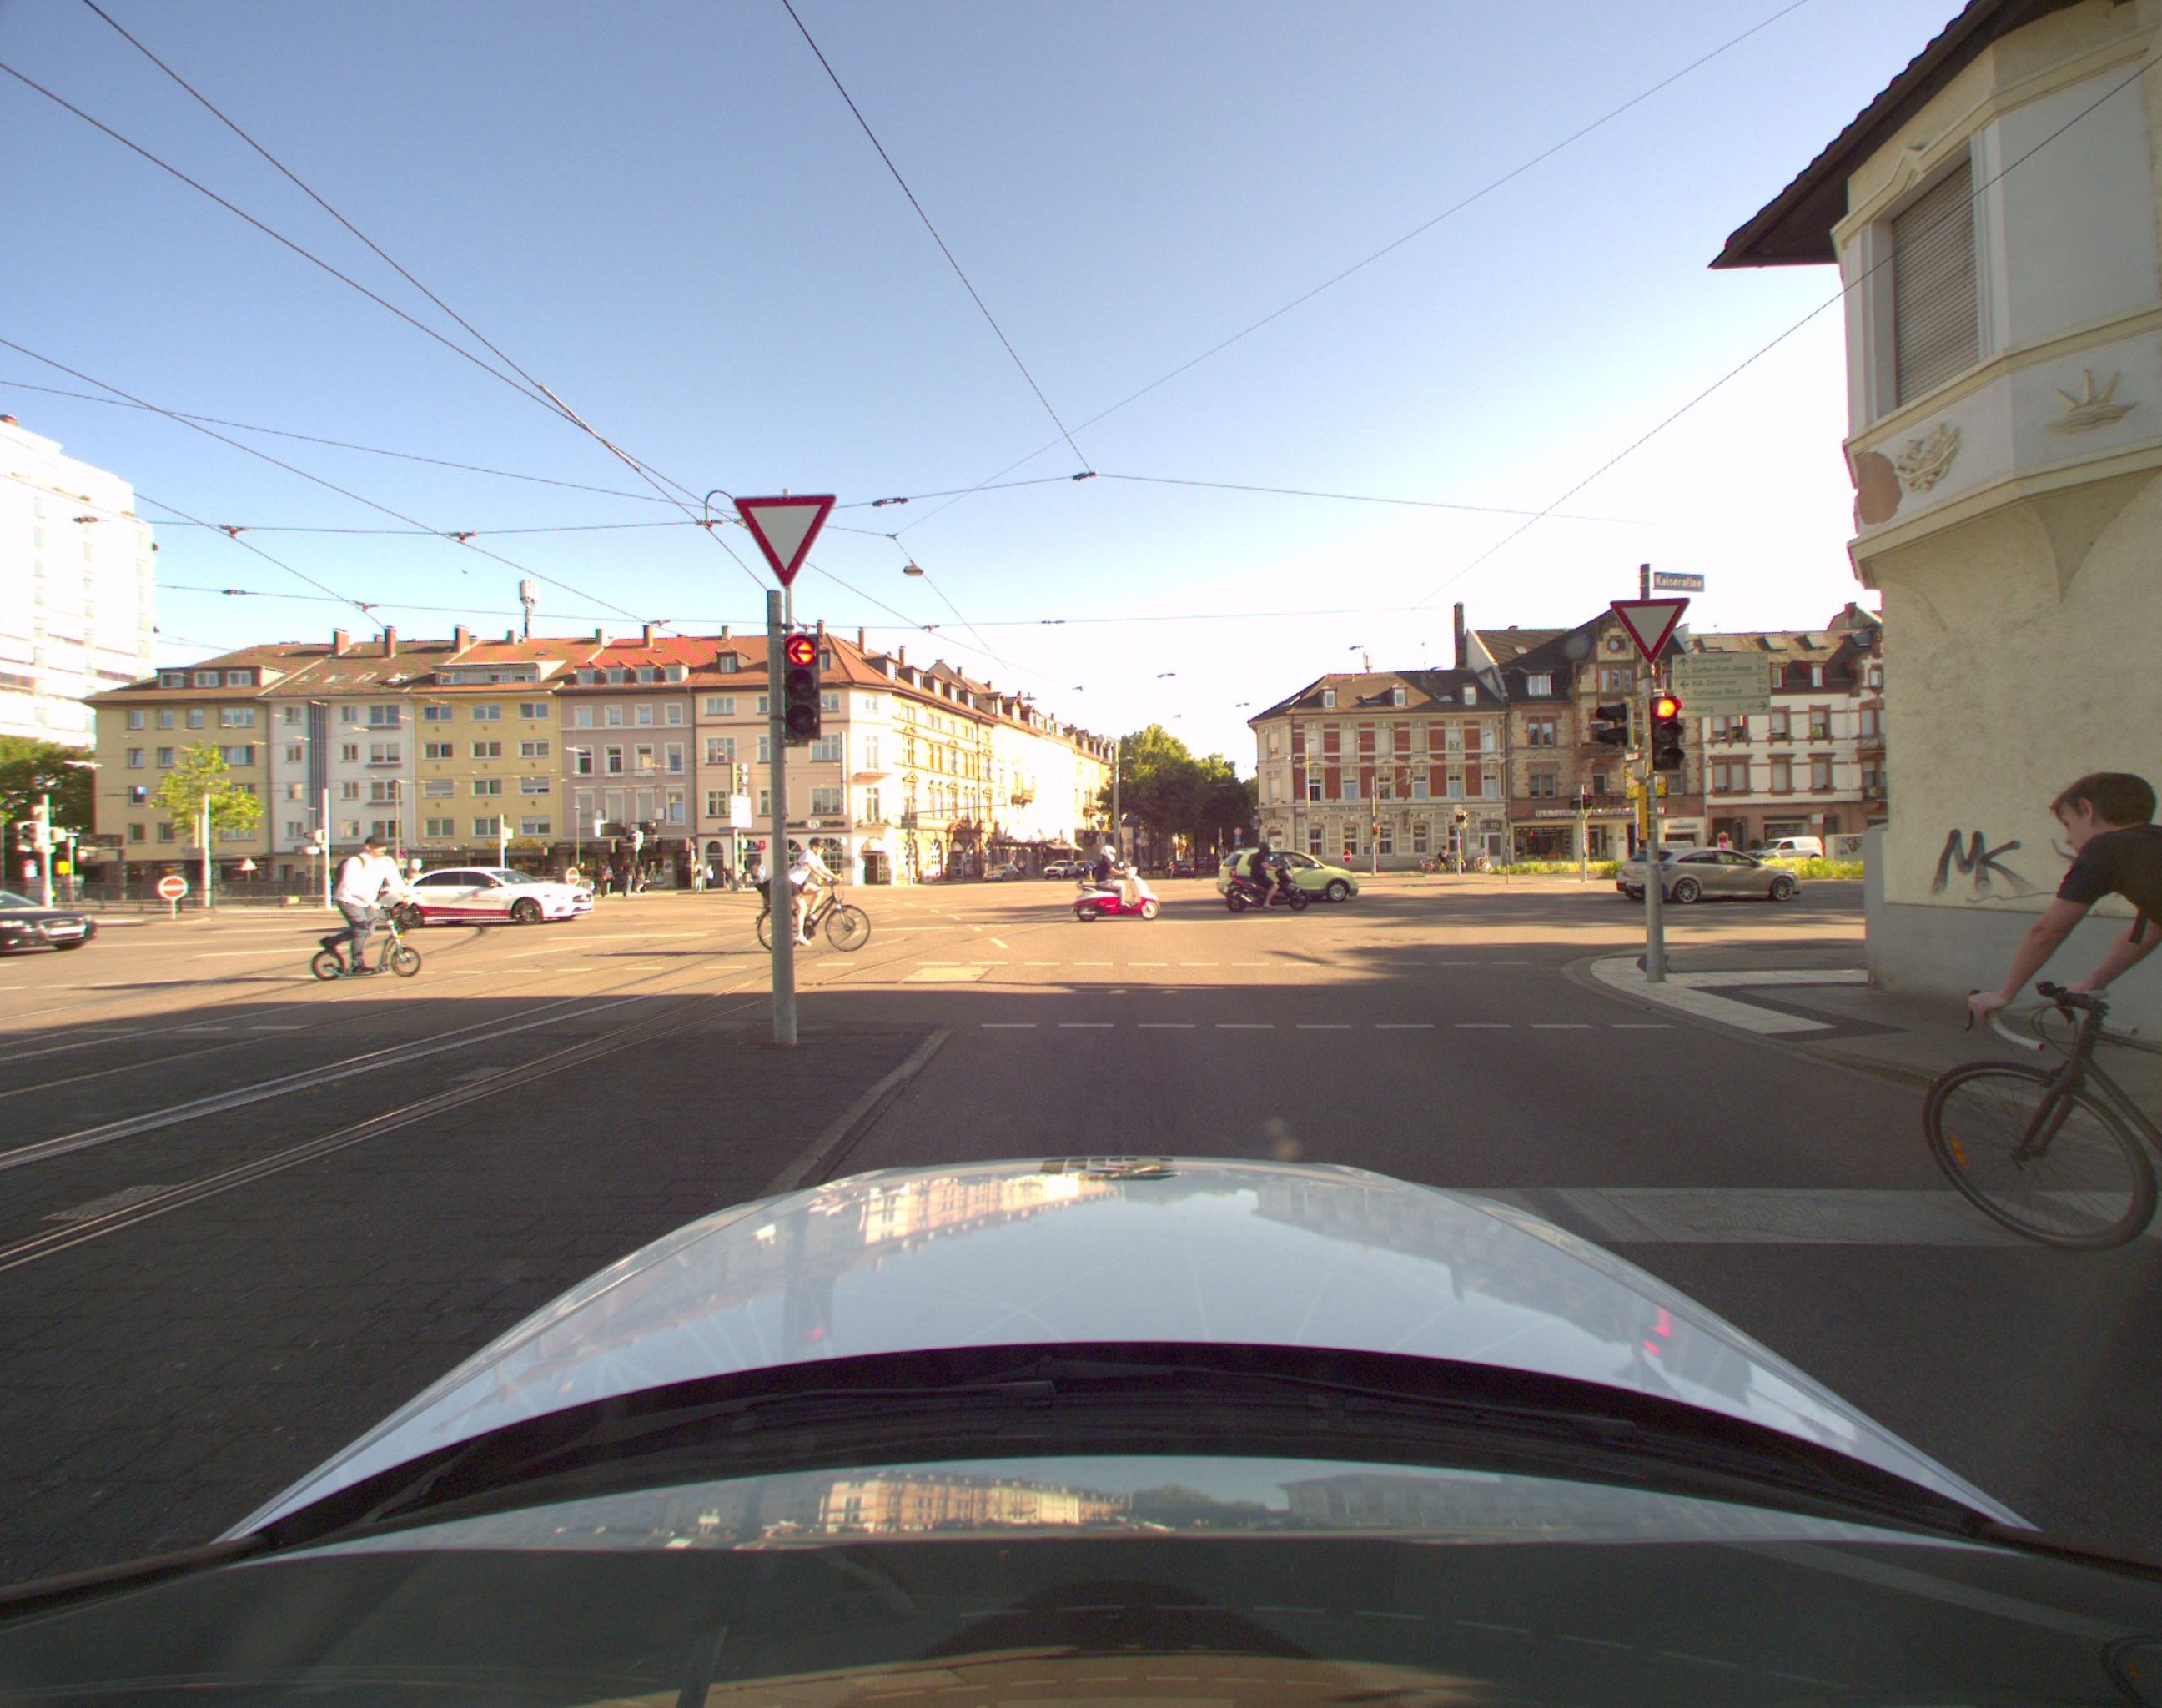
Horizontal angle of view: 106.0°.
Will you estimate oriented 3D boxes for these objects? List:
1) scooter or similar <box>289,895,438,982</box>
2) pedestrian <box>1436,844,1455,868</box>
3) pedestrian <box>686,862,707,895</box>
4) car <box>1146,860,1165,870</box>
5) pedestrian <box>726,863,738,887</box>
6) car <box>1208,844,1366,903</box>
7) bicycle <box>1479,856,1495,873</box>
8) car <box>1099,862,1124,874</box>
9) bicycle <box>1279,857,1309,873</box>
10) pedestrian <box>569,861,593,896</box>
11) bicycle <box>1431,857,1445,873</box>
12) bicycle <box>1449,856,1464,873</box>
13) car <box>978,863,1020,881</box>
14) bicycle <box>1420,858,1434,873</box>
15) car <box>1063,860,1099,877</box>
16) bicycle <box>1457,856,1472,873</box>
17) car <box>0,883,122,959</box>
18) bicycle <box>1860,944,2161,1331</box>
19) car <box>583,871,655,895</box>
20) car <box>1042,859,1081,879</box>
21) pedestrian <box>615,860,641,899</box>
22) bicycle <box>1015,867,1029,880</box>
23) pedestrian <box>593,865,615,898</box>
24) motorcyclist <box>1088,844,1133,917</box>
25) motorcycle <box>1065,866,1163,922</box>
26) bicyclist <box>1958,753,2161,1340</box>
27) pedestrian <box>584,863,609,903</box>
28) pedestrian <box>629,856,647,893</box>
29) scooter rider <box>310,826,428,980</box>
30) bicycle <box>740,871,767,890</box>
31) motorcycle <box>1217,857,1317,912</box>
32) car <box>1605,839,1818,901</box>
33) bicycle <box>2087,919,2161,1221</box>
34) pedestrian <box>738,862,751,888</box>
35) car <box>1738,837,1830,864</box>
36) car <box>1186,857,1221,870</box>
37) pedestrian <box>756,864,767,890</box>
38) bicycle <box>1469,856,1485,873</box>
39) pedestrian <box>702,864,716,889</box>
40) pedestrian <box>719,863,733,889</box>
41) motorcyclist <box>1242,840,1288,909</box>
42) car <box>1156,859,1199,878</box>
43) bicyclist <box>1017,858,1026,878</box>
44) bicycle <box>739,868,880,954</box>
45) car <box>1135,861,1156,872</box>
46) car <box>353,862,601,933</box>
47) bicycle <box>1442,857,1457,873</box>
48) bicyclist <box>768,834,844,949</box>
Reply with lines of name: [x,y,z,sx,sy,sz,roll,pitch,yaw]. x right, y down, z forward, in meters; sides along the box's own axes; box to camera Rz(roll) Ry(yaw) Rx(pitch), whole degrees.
scooter or similar: [-9.311,1.083,10.600,1.426,1.043,0.565,-1,0,1]
pedestrian: [25.303,0.141,56.525,1.029,1.712,0.631,-1,-1,10]
pedestrian: [-19.919,1.271,42.187,0.738,1.682,0.628,-1,0,1]
car: [11.209,1.697,122.494,1.977,1.404,4.189,-1,0,18]
pedestrian: [-24.341,1.451,56.808,0.744,1.682,0.623,-1,0,-23]
car: [5.710,0.520,22.838,3.949,1.498,1.738,-1,0,-6]
bicycle: [26.340,0.670,52.910,0.483,1.020,1.789,-1,0,12]
car: [3.841,1.718,102.168,1.977,1.404,4.189,-1,0,18]
bicycle: [14.920,0.753,57.132,1.940,1.054,0.717,-1,0,11]
pedestrian: [-23.396,1.141,38.109,0.738,1.635,0.572,-1,0,1]
bicycle: [23.166,0.724,52.866,0.483,1.020,1.789,-1,0,12]
bicycle: [24.321,0.683,52.798,0.483,1.020,1.789,-1,0,12]
car: [-6.751,1.480,67.356,1.977,1.361,3.836,-1,0,18]
bicycle: [22.490,0.734,52.970,0.483,0.914,1.789,-1,0,12]
car: [0.039,1.315,73.799,1.977,1.404,4.189,-1,0,18]
bicycle: [24.824,0.679,52.707,0.483,1.020,1.789,-1,0,12]
car: [-22.569,1.405,16.362,4.264,1.381,1.642,-2,0,-6]
bicycle: [3.566,0.918,2.495,0.568,1.058,1.890,-1,0,2]
car: [-30.339,1.902,53.528,3.711,1.491,1.820,0,-1,4]
car: [-1.582,1.221,67.662,1.977,1.516,4.189,-1,0,18]
pedestrian: [-21.442,1.210,38.557,0.764,1.829,0.723,-1,0,1]
bicycle: [-4.755,1.535,65.561,0.650,1.000,1.671,-1,-1,14]
pedestrian: [-23.473,1.352,40.082,0.697,1.581,0.559,-1,0,-4]
motorcyclist: [0.633,0.545,17.421,0.814,1.507,0.657,-1,0,-10]
motorcycle: [0.698,0.834,17.403,2.025,1.118,0.503,-1,0,-10]
bicyclist: [3.564,0.575,2.493,0.649,1.767,0.995,-1,0,2]
pedestrian: [-22.515,1.343,37.852,0.625,1.850,0.778,-1,0,1]
pedestrian: [-21.806,0.994,40.085,0.558,1.786,0.560,-1,0,1]
scooter rider: [-9.240,0.619,10.605,0.792,1.912,0.797,-1,0,1]
bicycle: [-23.093,1.861,57.420,1.714,1.276,0.385,-1,0,-16]
motorcycle: [4.438,0.703,19.467,2.205,1.228,0.692,-1,0,-10]
car: [15.956,0.393,20.711,4.262,1.441,1.738,-1,-1,-6]
bicycle: [4.509,0.857,2.481,0.568,1.165,1.890,-1,0,2]
pedestrian: [-21.803,1.345,52.755,0.744,1.682,0.623,-1,0,-23]
car: [45.223,-0.240,52.485,4.239,1.622,1.999,-1,0,-1]
car: [14.971,1.162,99.500,3.959,1.454,1.687,-1,0,13]
pedestrian: [-15.792,1.136,40.242,0.364,1.253,0.449,-1,0,-10]
bicycle: [25.636,0.673,52.755,0.483,1.020,1.789,-1,0,12]
pedestrian: [-26.169,1.590,57.269,0.740,1.682,0.626,-1,0,-10]
pedestrian: [-23.068,1.411,52.925,0.744,1.682,0.623,-1,0,-23]
motorcyclist: [4.403,0.482,19.505,0.832,1.620,0.814,0,-1,-10]
car: [6.964,1.049,59.248,1.720,1.300,4.052,-1,0,-15]
bicyclist: [-4.760,1.097,65.463,0.486,1.601,0.668,-1,0,12]
bicycle: [-4.171,0.865,12.641,1.920,1.223,0.741,-1,0,-6]
car: [9.255,1.821,116.815,1.977,1.404,4.189,-1,0,18]
car: [-14.836,1.036,20.238,4.663,1.473,1.738,-2,0,-5]
bicycle: [23.862,0.686,52.748,0.483,1.020,1.789,-1,0,12]
bicyclist: [-4.243,0.563,12.635,0.937,1.713,0.732,-1,0,-6]
